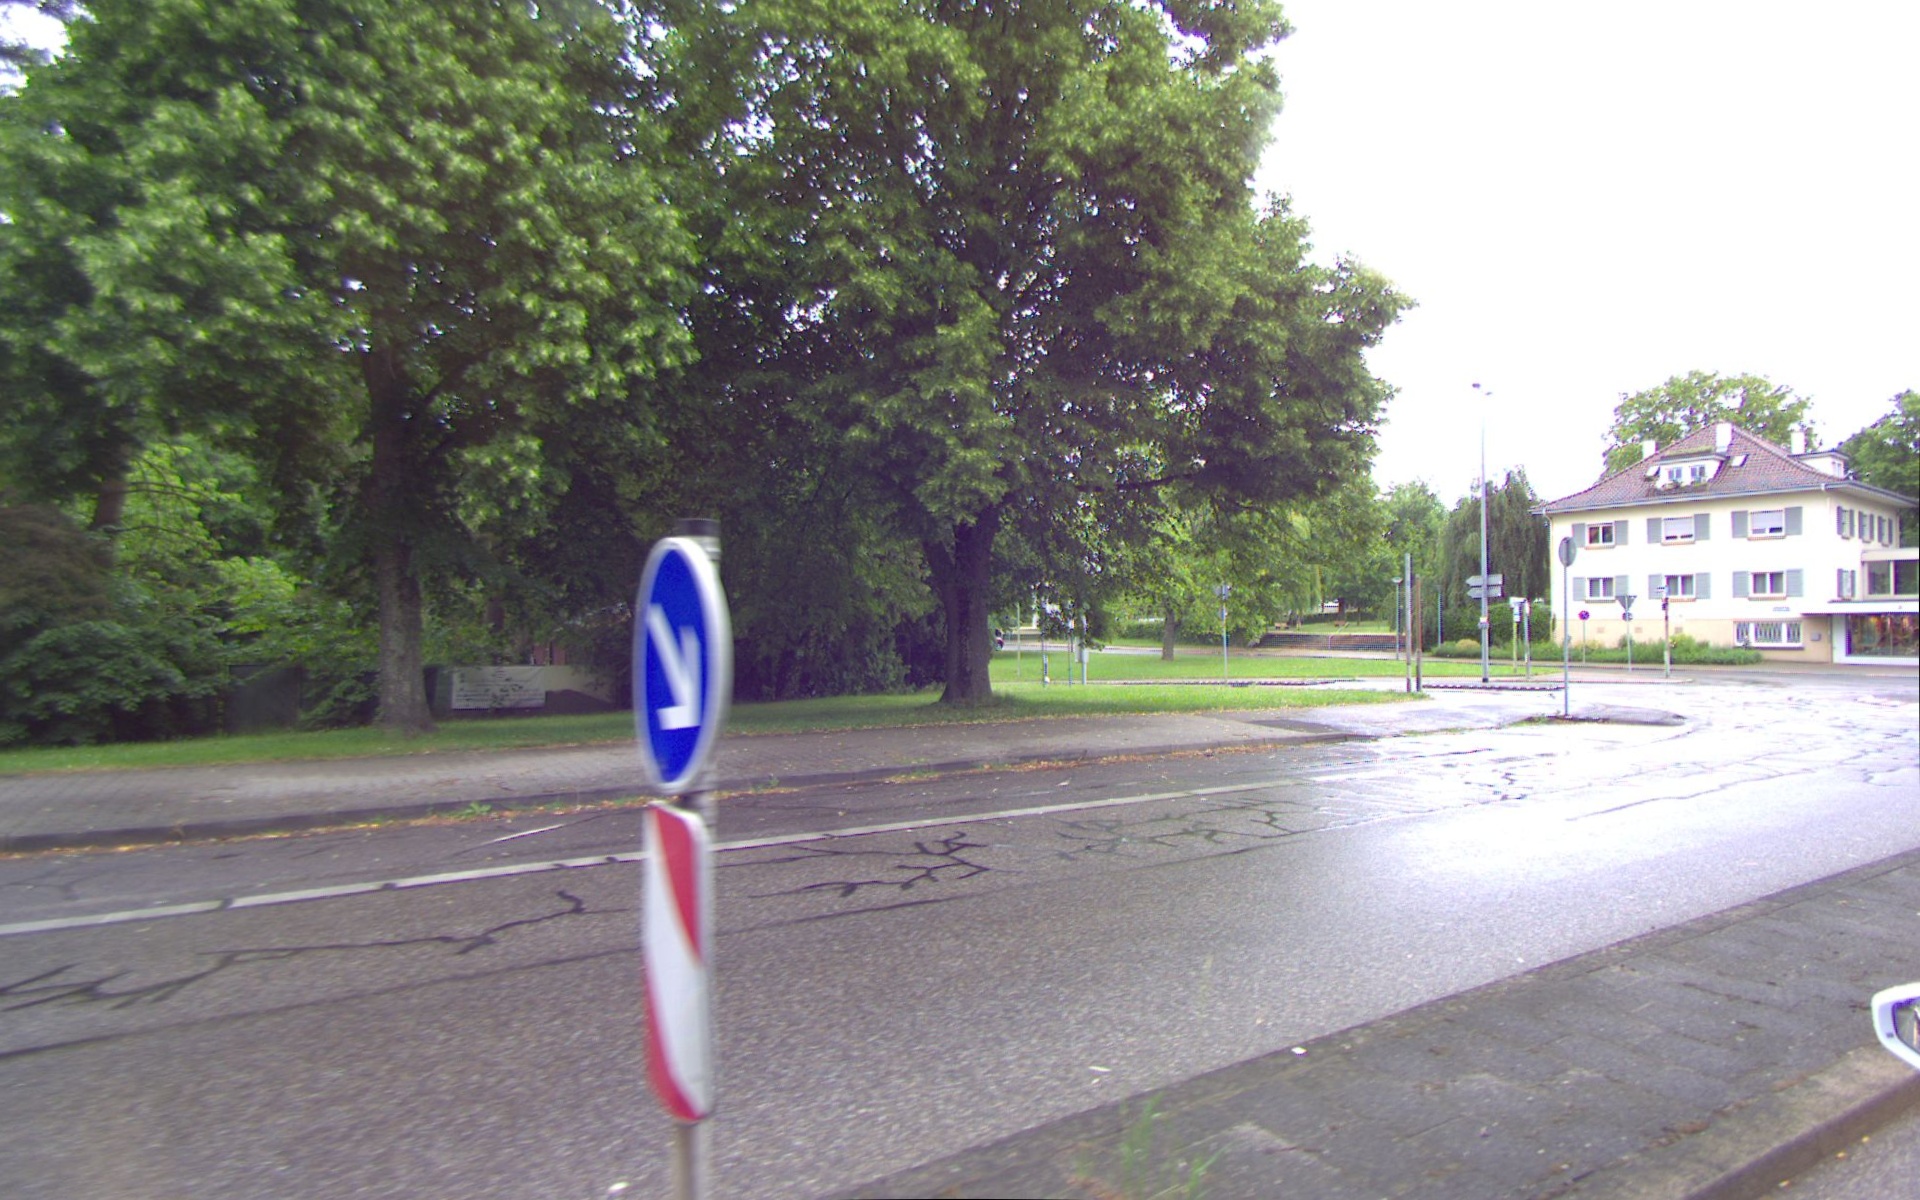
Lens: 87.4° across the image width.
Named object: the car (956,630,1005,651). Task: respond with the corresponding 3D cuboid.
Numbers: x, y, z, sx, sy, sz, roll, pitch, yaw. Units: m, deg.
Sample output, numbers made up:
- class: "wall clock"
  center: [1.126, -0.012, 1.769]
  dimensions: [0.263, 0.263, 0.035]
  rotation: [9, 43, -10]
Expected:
- class: "car"
  center: [1.655, 3.322, 81.913]
  dimensions: [3.596, 1.615, 1.790]
  rotation: [2, -1, -32]
